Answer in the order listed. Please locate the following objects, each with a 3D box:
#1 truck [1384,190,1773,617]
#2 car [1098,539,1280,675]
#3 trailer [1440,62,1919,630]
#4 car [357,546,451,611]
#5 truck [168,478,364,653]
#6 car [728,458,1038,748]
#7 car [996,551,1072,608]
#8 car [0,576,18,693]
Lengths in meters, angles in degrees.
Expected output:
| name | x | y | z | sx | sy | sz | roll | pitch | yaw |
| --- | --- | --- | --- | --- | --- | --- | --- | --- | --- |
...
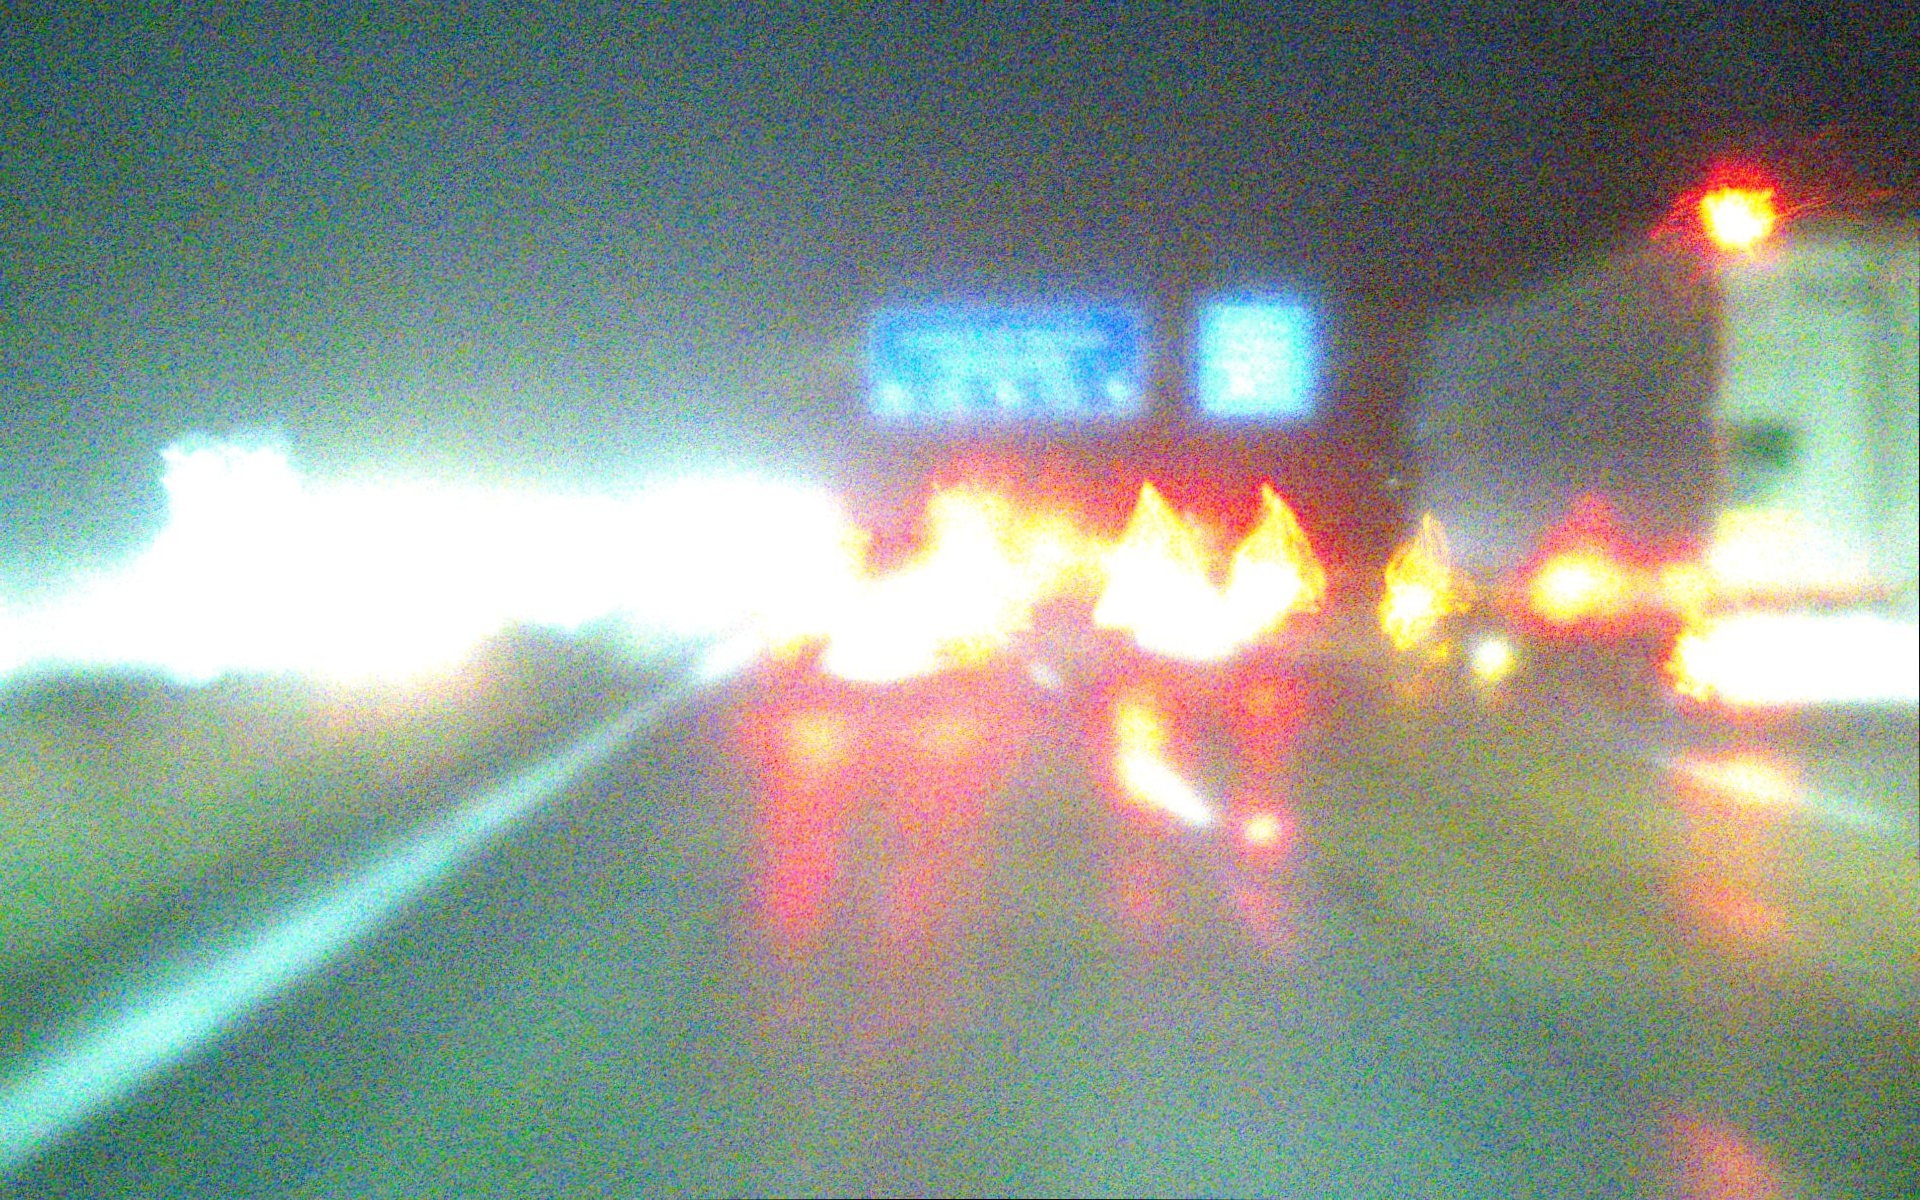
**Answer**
| name | x | y | z | sx | sy | sz | roll | pitch | yaw |
| --- | --- | --- | --- | --- | --- | --- | --- | --- | --- |
| truck | 6.678 | -2.030 | 38.273 | 2.803 | 4.252 | 7.448 | 1 | 1 | -1 |
| car | 2.780 | 0.054 | 42.520 | 1.884 | 1.583 | 4.000 | 1 | 1 | -1 |
| trailer | 6.792 | -1.970 | 31.614 | 2.803 | 4.198 | 12.097 | 1 | 1 | -1 |
| car | -13.733 | -0.542 | 85.072 | 1.754 | 1.520 | 4.116 | -1 | 1 | -2 |
| truck | -18.532 | -0.928 | 92.567 | 2.930 | 4.312 | 11.436 | -2 | 1 | -1 |
| car | -0.810 | -0.041 | 33.892 | 2.709 | 2.525 | 5.832 | -2 | 1 | -2 |
| car | 2.183 | -0.621 | 102.046 | 2.137 | 1.612 | 4.000 | 1 | 0 | 0 |
| car | -13.852 | 0.467 | 44.948 | 1.861 | 1.575 | 4.514 | 1 | 0 | -1 |
